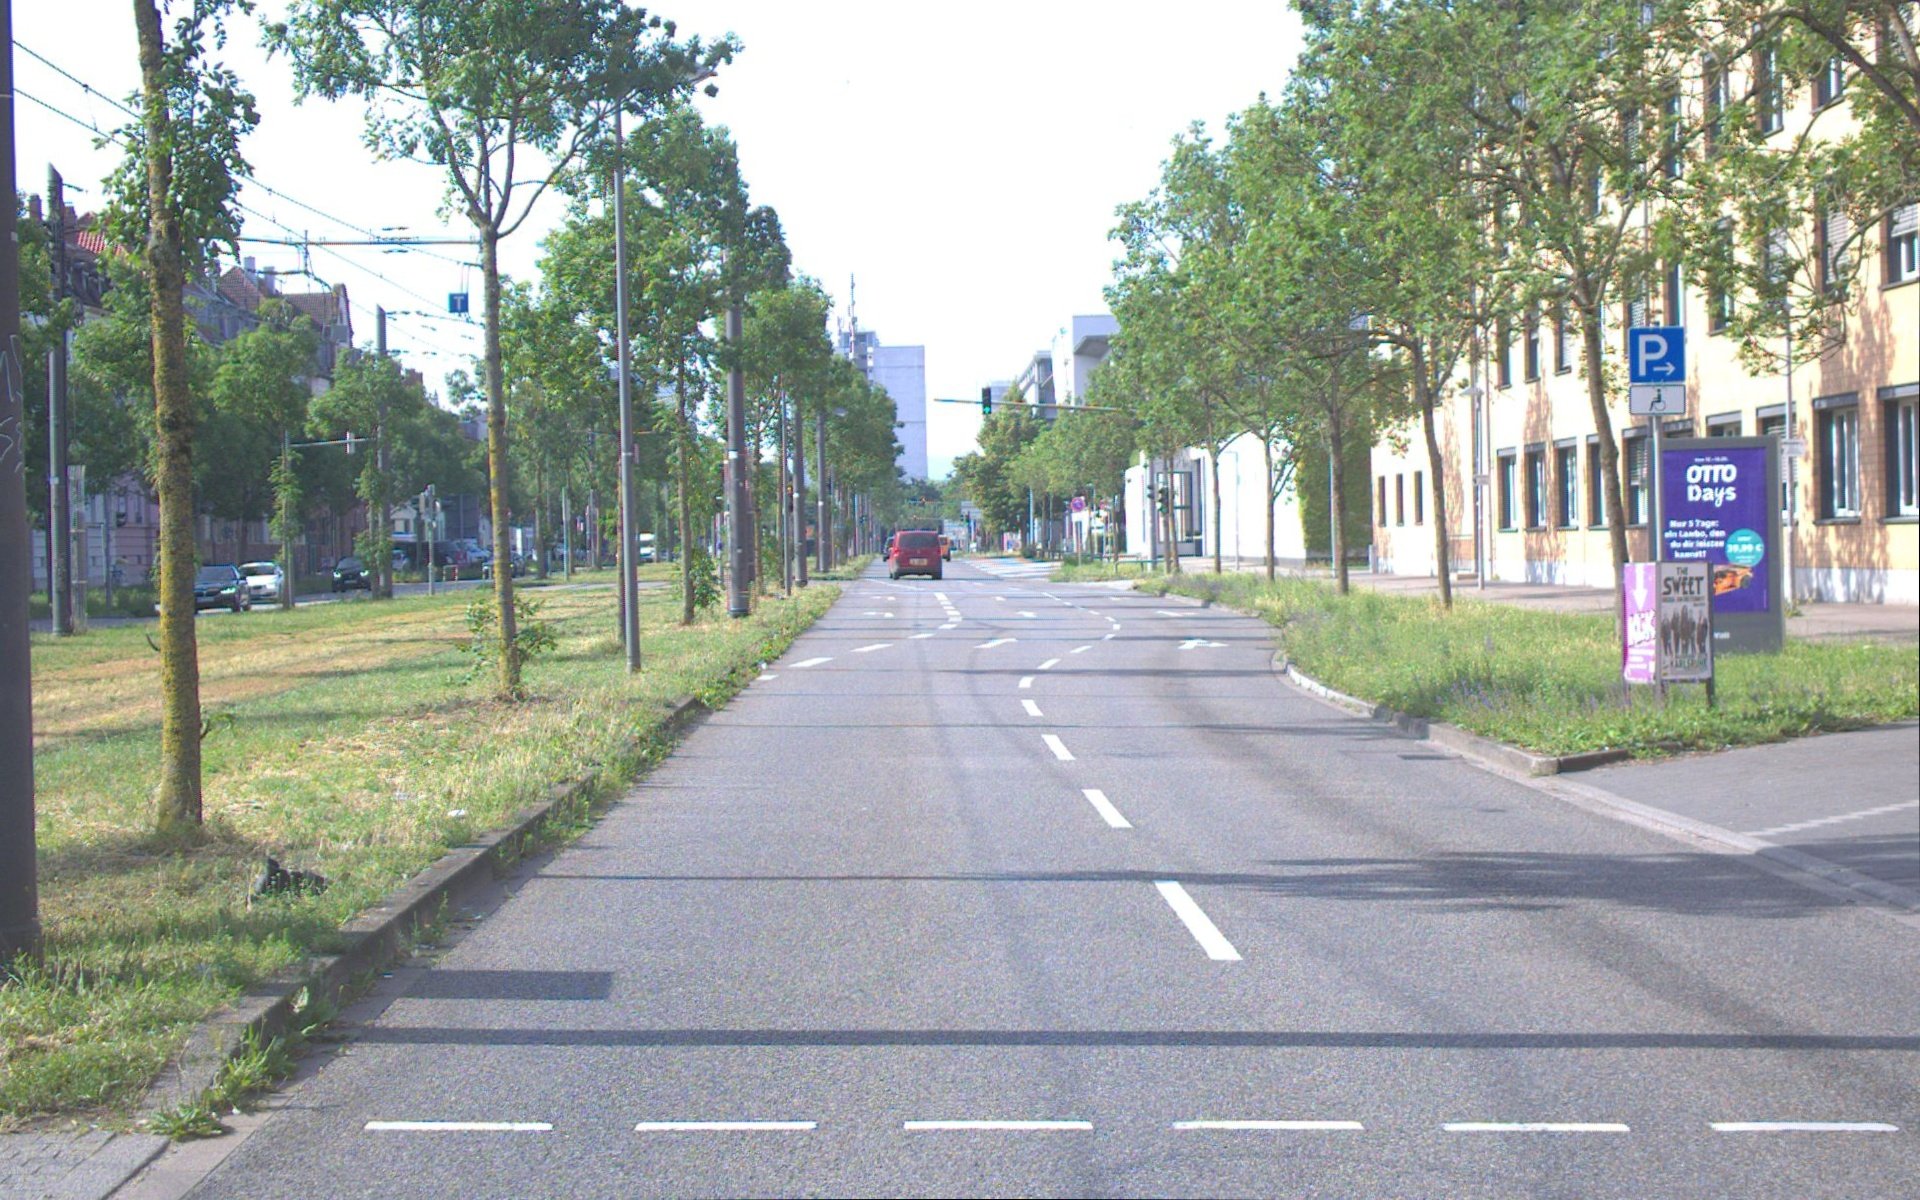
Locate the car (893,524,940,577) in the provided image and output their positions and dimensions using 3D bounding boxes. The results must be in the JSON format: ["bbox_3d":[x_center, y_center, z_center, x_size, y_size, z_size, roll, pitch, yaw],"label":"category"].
[{"bbox_3d":[-1.668,-1.899,132.272,1.748,2.007,3.216,1,0,0],"label":"car"}]

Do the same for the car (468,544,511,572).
[{"bbox_3d":[-25.142,-2.220,183.735,1.812,1.428,3.926,1,0,-2],"label":"car"}]

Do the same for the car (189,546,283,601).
[{"bbox_3d":[-22.105,-0.814,105.166,1.993,1.624,5.380,1,0,-3],"label":"car"}]

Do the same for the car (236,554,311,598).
[{"bbox_3d":[-24.154,-0.848,121.067,1.947,1.454,4.649,1,0,-3],"label":"car"}]

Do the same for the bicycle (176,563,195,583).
[{"bbox_3d":[-33.180,-1.143,147.252,0.447,0.854,1.948,1,0,-2],"label":"bicycle"}]

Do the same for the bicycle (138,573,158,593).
[{"bbox_3d":[-33.048,-0.689,139.940,0.437,0.786,1.948,1,0,-2],"label":"bicycle"}]

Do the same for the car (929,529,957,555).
[{"bbox_3d":[-1.103,-3.744,222.389,1.748,1.645,3.216,1,0,0],"label":"car"}]

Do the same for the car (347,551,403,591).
[{"bbox_3d":[-24.871,-1.246,146.345,1.764,1.650,4.000,1,0,-1],"label":"car"}]
